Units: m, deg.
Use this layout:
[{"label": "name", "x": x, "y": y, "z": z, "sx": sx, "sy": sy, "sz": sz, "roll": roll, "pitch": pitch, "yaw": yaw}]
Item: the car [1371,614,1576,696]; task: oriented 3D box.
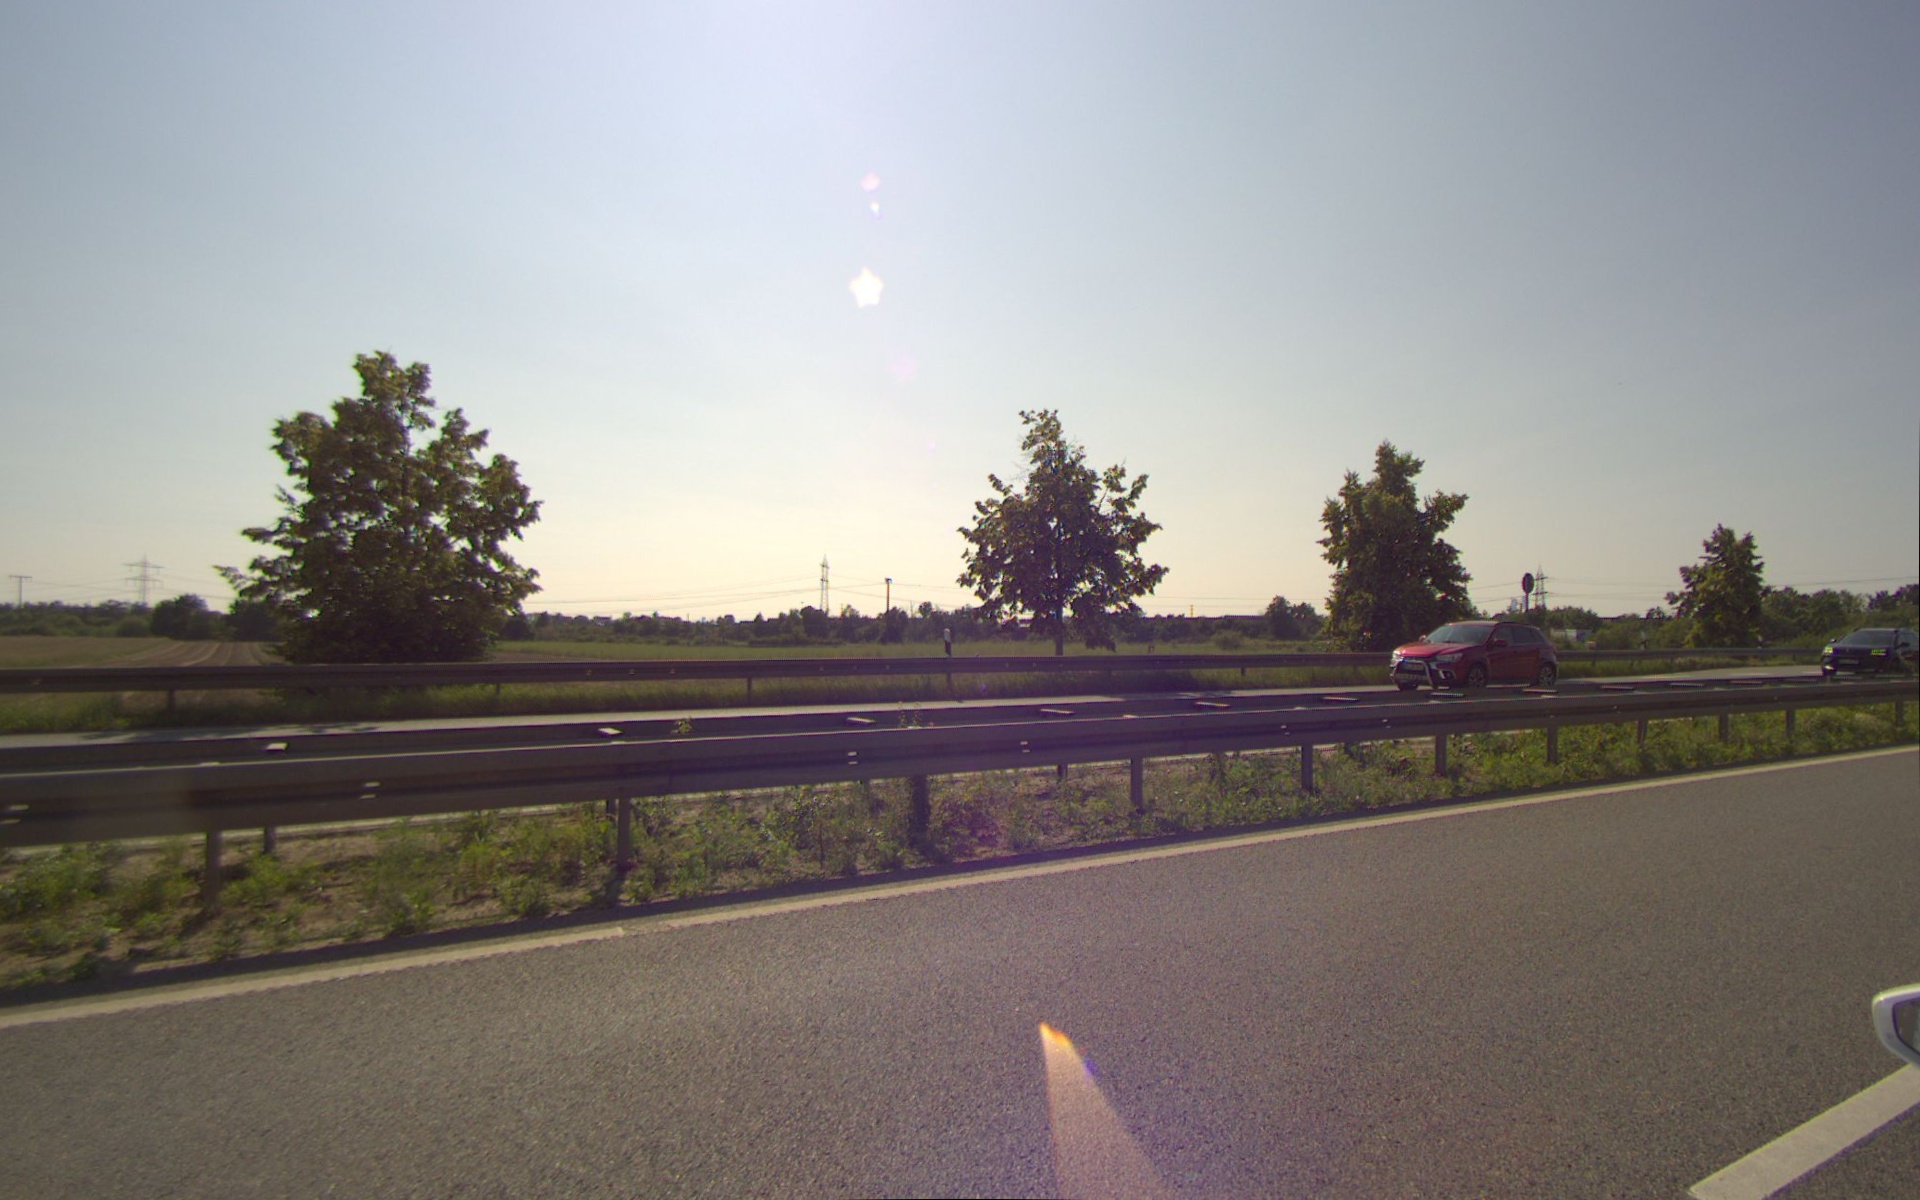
[{"label": "car", "x": 11.623, "y": 1.211, "z": 22.637, "sx": 4.717, "sy": 1.614, "sz": 1.834, "roll": 2, "pitch": 1, "yaw": -30}]

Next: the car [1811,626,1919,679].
[{"label": "car", "x": 30.413, "y": 1.725, "z": 33.557, "sx": 4.171, "sy": 1.617, "sz": 1.718, "roll": 2, "pitch": 0, "yaw": -30}]
